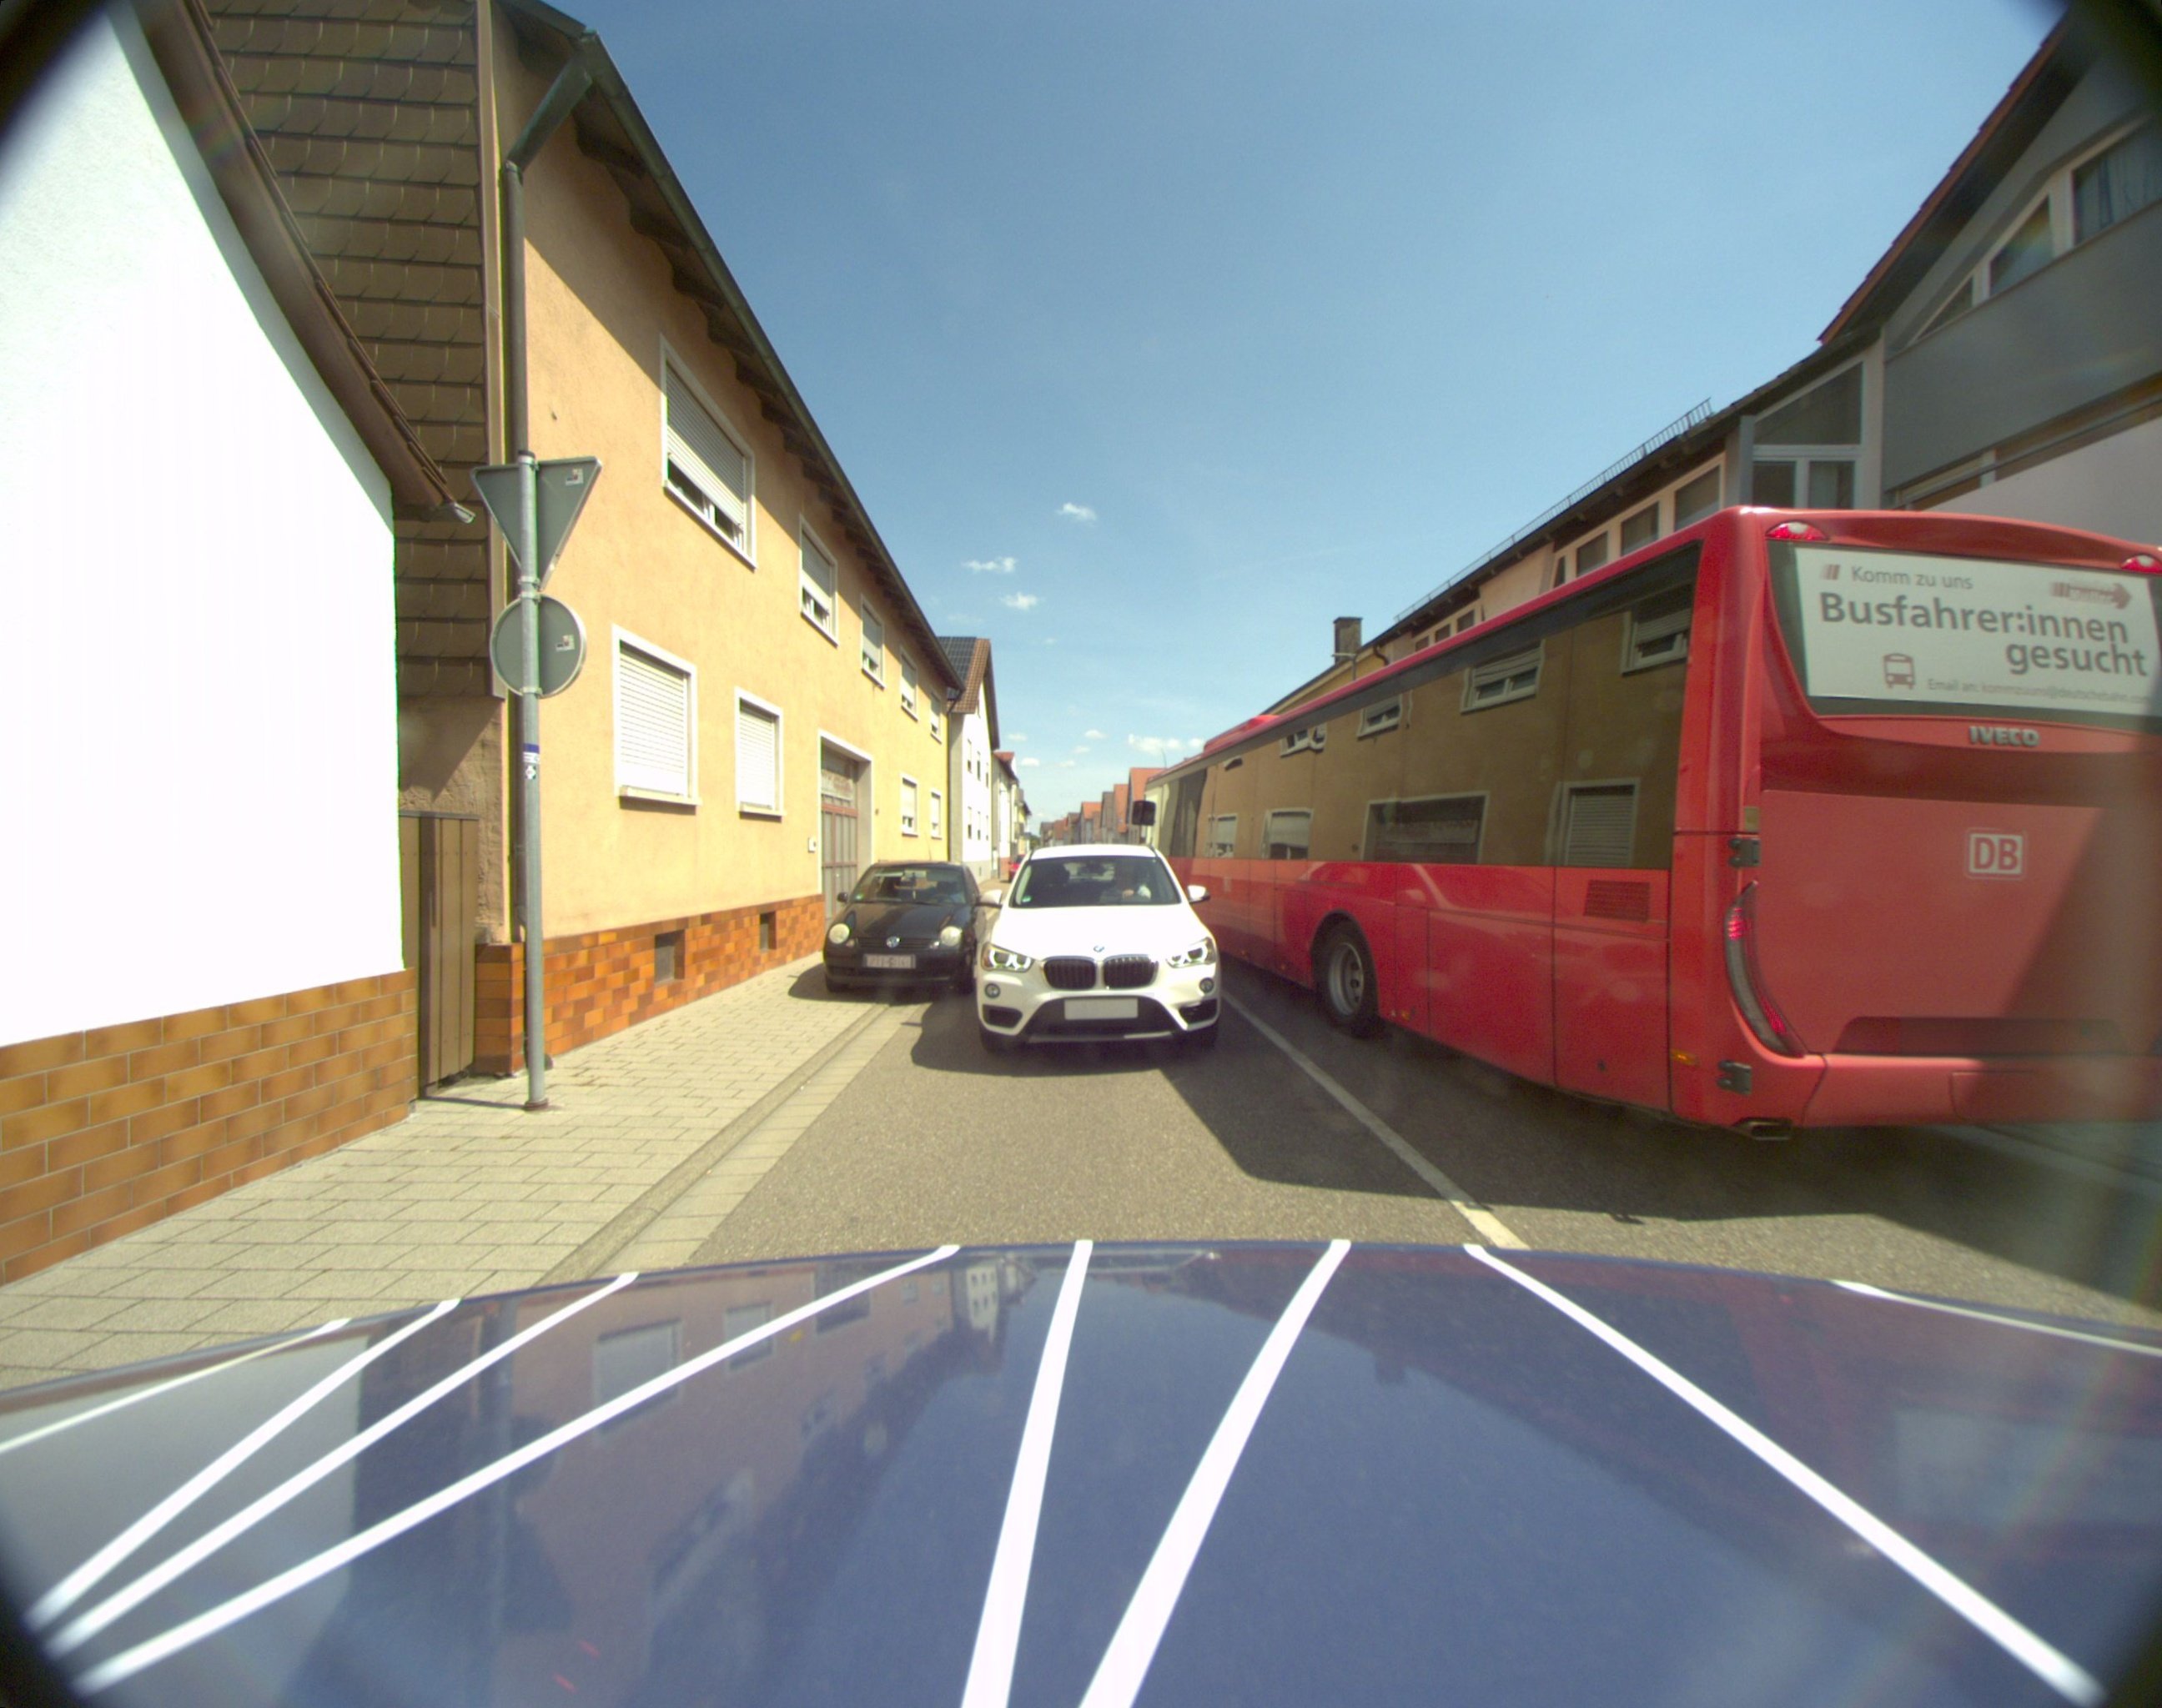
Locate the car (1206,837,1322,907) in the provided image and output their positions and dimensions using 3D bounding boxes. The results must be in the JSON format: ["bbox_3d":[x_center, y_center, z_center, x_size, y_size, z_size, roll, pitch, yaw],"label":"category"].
[{"bbox_3d":[4.611,0.388,19.752,1.749,1.507,3.998,-4,1,-3],"label":"car"}]

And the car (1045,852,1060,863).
[{"bbox_3d":[-3.646,0.425,97.557,1.765,1.420,4.187,0,0,-5],"label":"car"}]

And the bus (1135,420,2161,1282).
[{"bbox_3d":[3.061,-0.020,8.953,2.635,3.213,12.014,1,0,-6],"label":"bus"}]

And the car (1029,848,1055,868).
[{"bbox_3d":[-2.806,0.271,55.419,1.765,1.420,4.188,0,0,-2],"label":"car"}]

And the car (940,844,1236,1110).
[{"bbox_3d":[0.004,0.784,7.080,1.845,1.636,4.373,-2,0,-1],"label":"car"}]

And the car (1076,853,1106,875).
[{"bbox_3d":[0.628,0.627,50.317,1.765,1.389,3.869,1,0,-1],"label":"car"}]

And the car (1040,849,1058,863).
[{"bbox_3d":[-3.299,0.243,78.857,1.765,1.420,4.188,0,0,-2],"label":"car"}]

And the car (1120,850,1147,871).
[{"bbox_3d":[3.644,0.427,52.936,1.442,1.362,3.383,-3,1,-2],"label":"car"}]

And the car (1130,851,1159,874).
[{"bbox_3d":[4.021,0.506,48.558,1.458,1.362,3.383,-3,1,-1],"label":"car"}]

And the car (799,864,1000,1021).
[{"bbox_3d":[-1.990,0.908,9.357,1.690,1.454,3.628,2,0,-2],"label":"car"}]

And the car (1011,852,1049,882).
[{"bbox_3d":[-2.530,0.634,38.273,1.765,1.420,4.188,0,0,-2],"label":"car"}]

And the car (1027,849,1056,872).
[{"bbox_3d":[-2.512,0.394,48.982,1.765,1.420,4.188,0,0,-2],"label":"car"}]
